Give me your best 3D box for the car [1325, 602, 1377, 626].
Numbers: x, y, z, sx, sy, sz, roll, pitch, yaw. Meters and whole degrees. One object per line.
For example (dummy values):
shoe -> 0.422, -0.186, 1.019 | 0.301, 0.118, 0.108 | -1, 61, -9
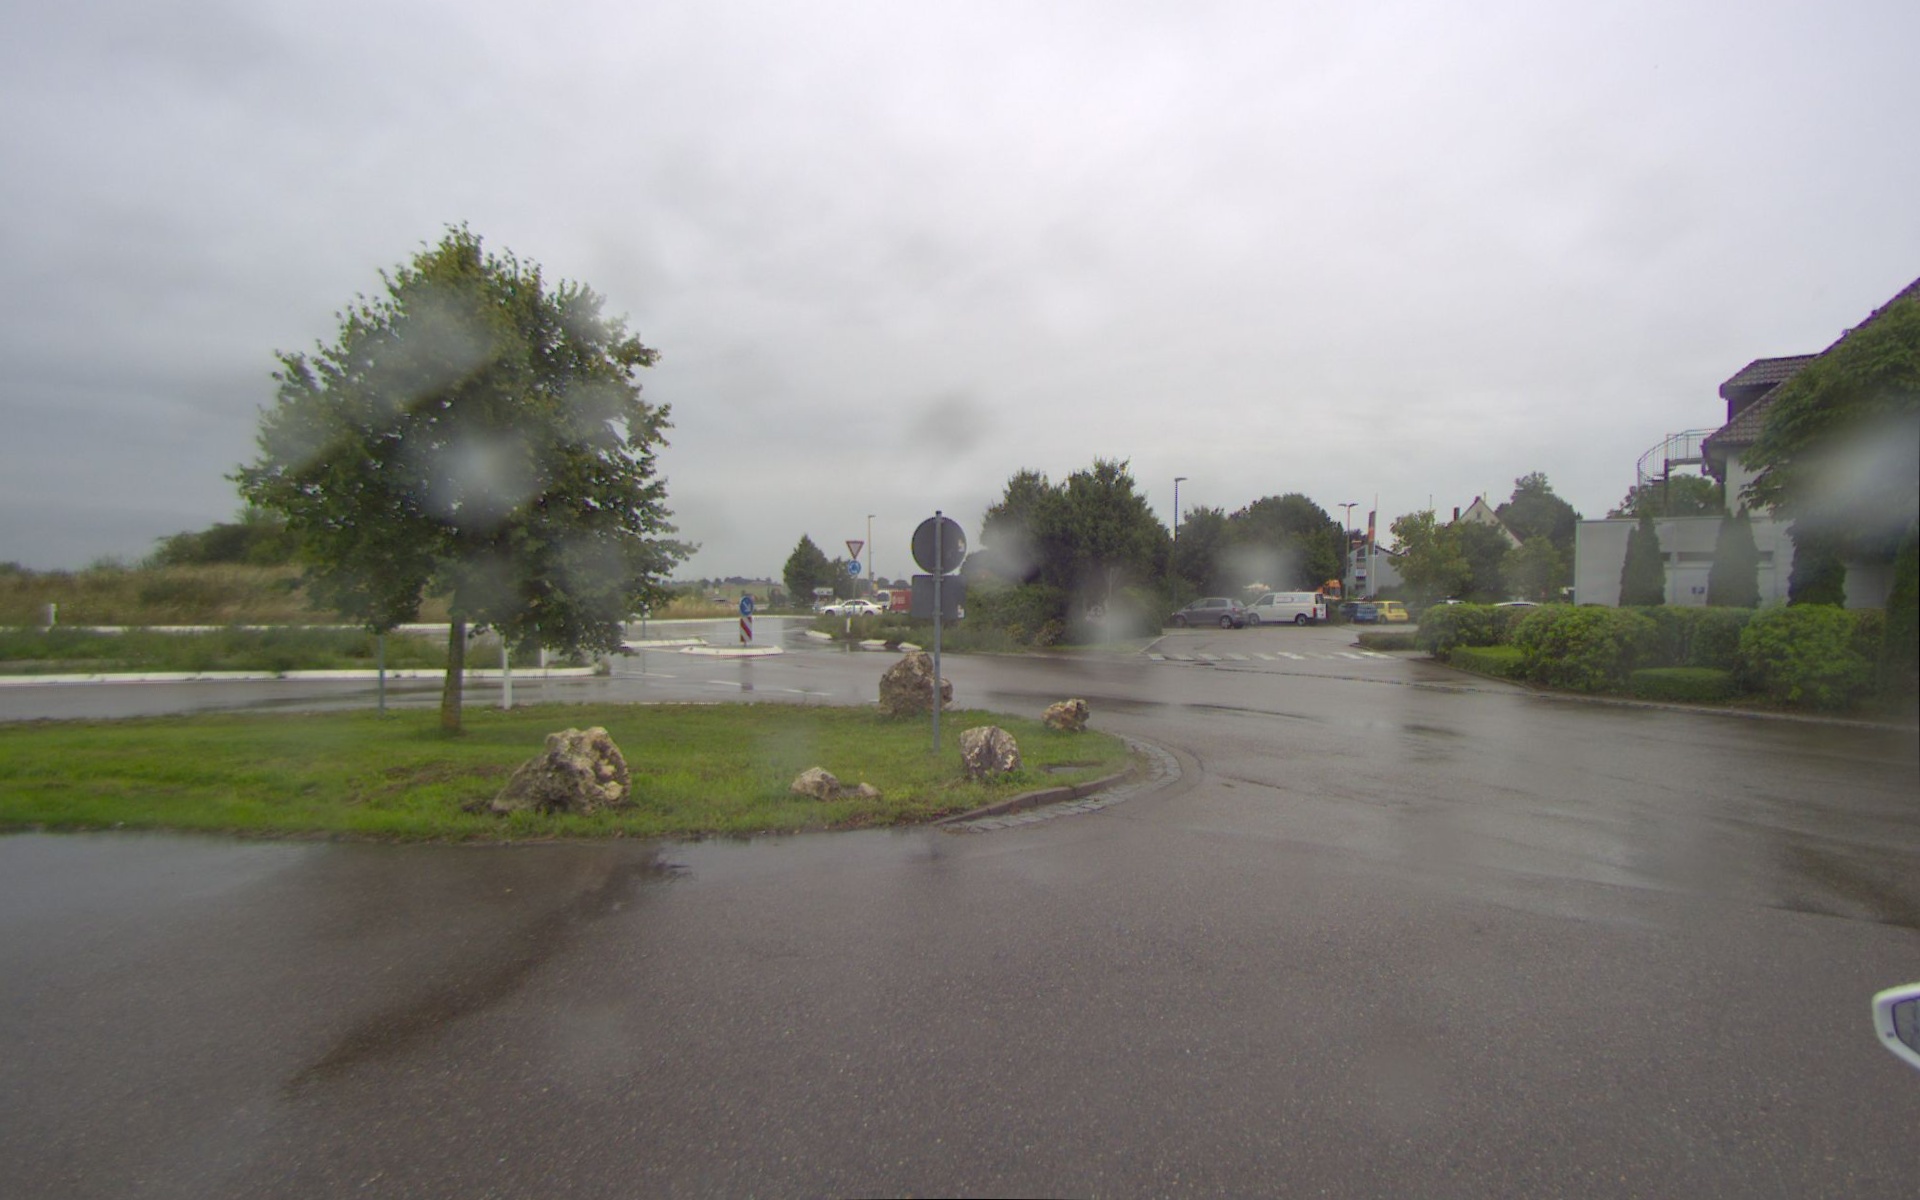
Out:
car -> 25.098, 0.859, 64.549 | 1.527, 1.477, 3.675 | 0, 0, -8

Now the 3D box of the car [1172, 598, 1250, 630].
car -> 12.942, 0.692, 51.947 | 3.686, 1.572, 1.444 | 0, 1, 38

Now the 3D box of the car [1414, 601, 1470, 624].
car -> 31.515, 0.810, 65.815 | 1.556, 1.477, 3.675 | 0, 0, -8

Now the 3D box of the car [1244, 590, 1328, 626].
car -> 19.332, 0.456, 59.666 | 4.465, 2.060, 1.638 | 0, 1, 39

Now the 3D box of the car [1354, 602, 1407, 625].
car -> 27.506, 0.853, 65.782 | 1.556, 1.477, 3.675 | 0, 0, -8

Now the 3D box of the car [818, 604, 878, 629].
car -> -8.139, 1.177, 73.020 | 4.285, 1.782, 1.747 | 0, 0, -7

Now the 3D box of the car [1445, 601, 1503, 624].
car -> 33.840, 0.787, 66.220 | 1.556, 1.477, 3.675 | 0, 0, -8

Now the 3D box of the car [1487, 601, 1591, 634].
car -> 27.578, 0.827, 47.869 | 4.123, 1.518, 1.711 | 0, 0, 38
